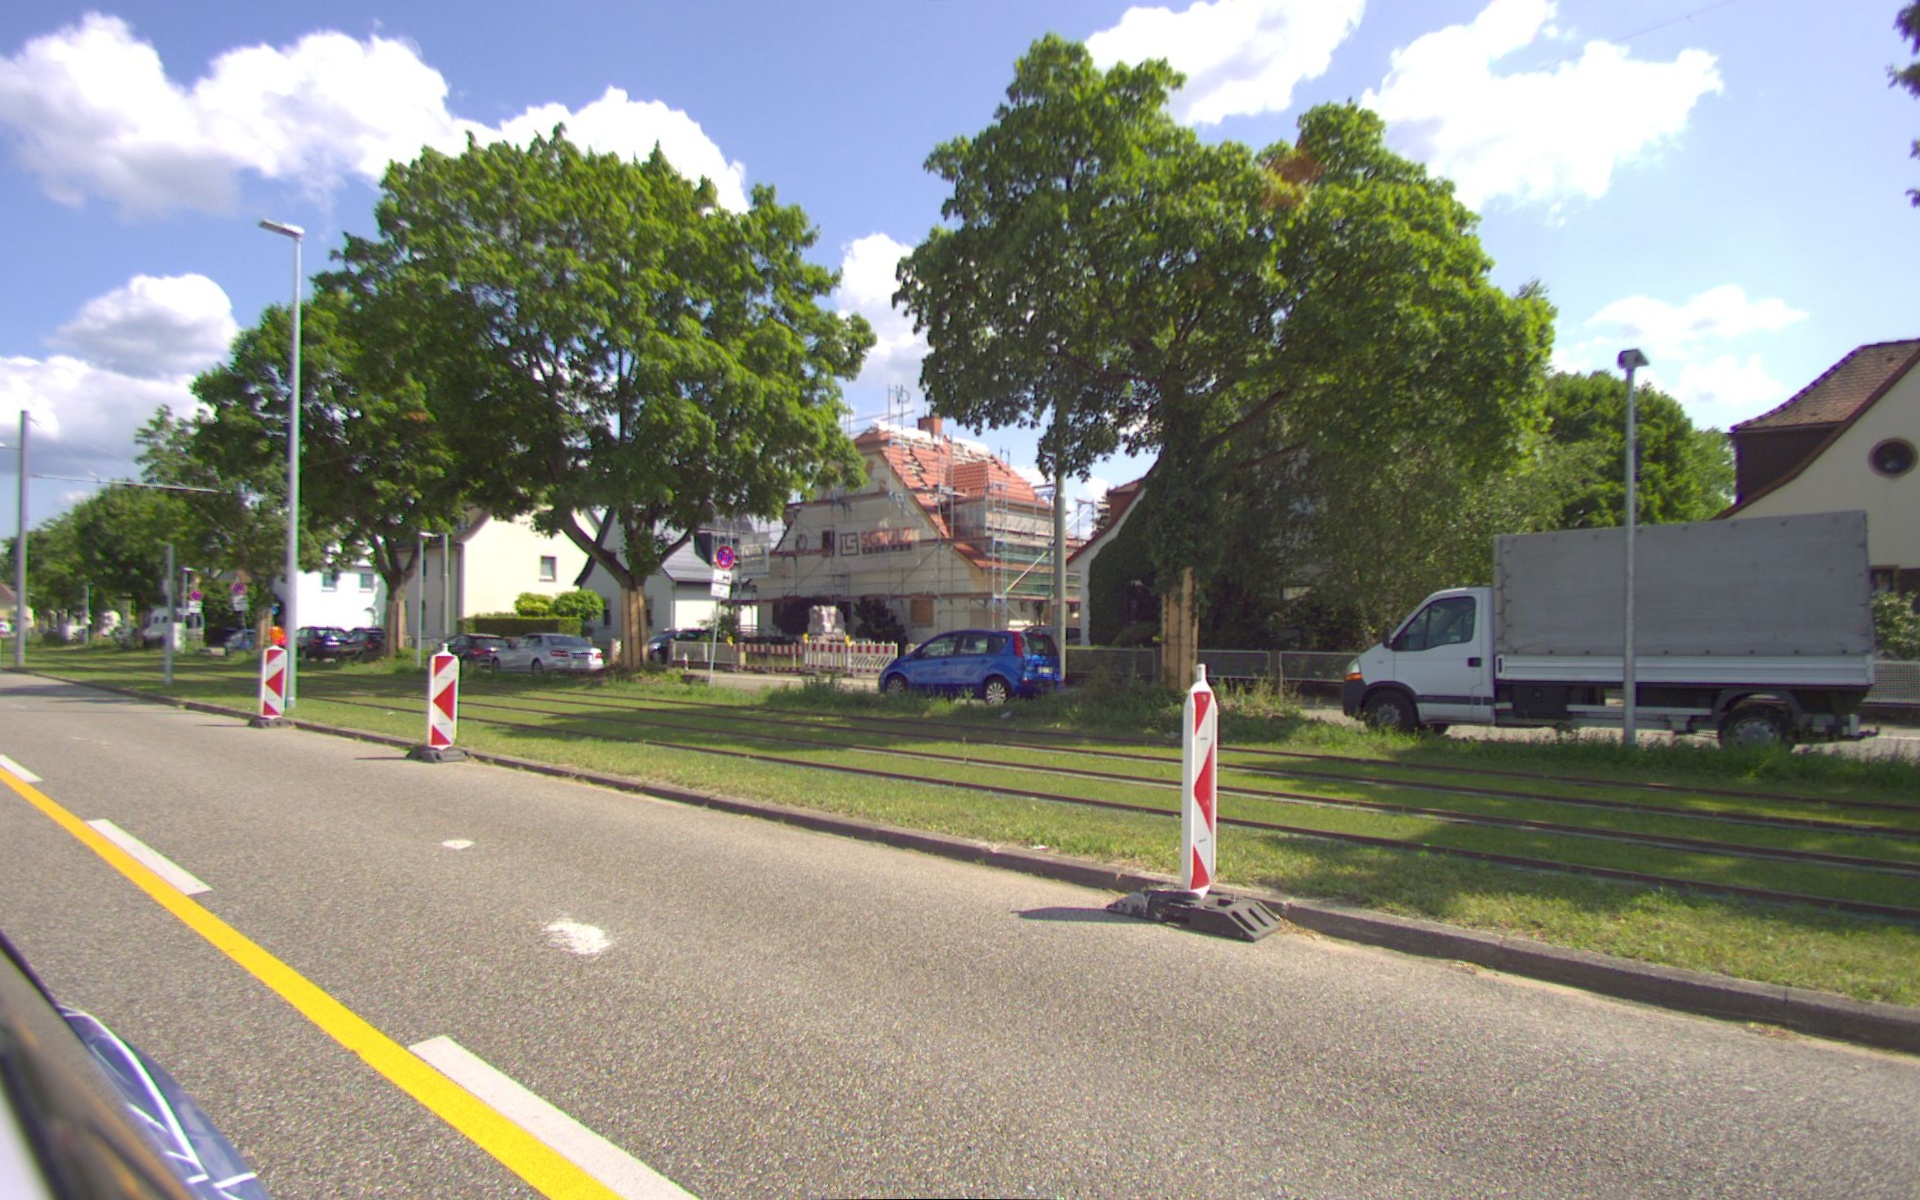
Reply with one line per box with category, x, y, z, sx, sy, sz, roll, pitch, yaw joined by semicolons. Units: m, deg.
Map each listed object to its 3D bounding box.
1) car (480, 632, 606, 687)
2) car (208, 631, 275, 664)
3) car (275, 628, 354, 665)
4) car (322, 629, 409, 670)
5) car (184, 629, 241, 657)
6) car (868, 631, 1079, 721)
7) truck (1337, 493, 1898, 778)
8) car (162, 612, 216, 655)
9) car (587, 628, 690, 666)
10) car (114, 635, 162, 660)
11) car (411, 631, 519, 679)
car;-13.169;1.827;31.863;4.603;1.623;1.733;-2;-3;40
car;-37.640;2.466;52.983;4.603;1.623;1.733;-2;-3;40
car;-29.598;2.096;46.334;4.603;1.623;1.733;-2;-3;40
car;-25.179;2.071;42.830;4.603;1.623;1.733;-2;-3;40
car;-44.641;2.551;60.407;4.603;1.623;1.733;-2;-3;40
car;0.209;1.439;20.180;4.047;1.623;1.733;-2;-3;40
truck;8.278;0.460;13.358;5.871;3.010;1.982;-2;-3;41
car;-48.852;2.106;64.120;4.603;2.636;1.733;-2;-3;40
car;-14.078;2.044;44.511;1.756;1.623;3.995;-2;-3;41
car;-57.019;3.267;70.153;4.603;1.623;1.733;-2;-3;40
car;-17.610;1.912;35.934;4.603;1.623;1.733;-2;-3;40
